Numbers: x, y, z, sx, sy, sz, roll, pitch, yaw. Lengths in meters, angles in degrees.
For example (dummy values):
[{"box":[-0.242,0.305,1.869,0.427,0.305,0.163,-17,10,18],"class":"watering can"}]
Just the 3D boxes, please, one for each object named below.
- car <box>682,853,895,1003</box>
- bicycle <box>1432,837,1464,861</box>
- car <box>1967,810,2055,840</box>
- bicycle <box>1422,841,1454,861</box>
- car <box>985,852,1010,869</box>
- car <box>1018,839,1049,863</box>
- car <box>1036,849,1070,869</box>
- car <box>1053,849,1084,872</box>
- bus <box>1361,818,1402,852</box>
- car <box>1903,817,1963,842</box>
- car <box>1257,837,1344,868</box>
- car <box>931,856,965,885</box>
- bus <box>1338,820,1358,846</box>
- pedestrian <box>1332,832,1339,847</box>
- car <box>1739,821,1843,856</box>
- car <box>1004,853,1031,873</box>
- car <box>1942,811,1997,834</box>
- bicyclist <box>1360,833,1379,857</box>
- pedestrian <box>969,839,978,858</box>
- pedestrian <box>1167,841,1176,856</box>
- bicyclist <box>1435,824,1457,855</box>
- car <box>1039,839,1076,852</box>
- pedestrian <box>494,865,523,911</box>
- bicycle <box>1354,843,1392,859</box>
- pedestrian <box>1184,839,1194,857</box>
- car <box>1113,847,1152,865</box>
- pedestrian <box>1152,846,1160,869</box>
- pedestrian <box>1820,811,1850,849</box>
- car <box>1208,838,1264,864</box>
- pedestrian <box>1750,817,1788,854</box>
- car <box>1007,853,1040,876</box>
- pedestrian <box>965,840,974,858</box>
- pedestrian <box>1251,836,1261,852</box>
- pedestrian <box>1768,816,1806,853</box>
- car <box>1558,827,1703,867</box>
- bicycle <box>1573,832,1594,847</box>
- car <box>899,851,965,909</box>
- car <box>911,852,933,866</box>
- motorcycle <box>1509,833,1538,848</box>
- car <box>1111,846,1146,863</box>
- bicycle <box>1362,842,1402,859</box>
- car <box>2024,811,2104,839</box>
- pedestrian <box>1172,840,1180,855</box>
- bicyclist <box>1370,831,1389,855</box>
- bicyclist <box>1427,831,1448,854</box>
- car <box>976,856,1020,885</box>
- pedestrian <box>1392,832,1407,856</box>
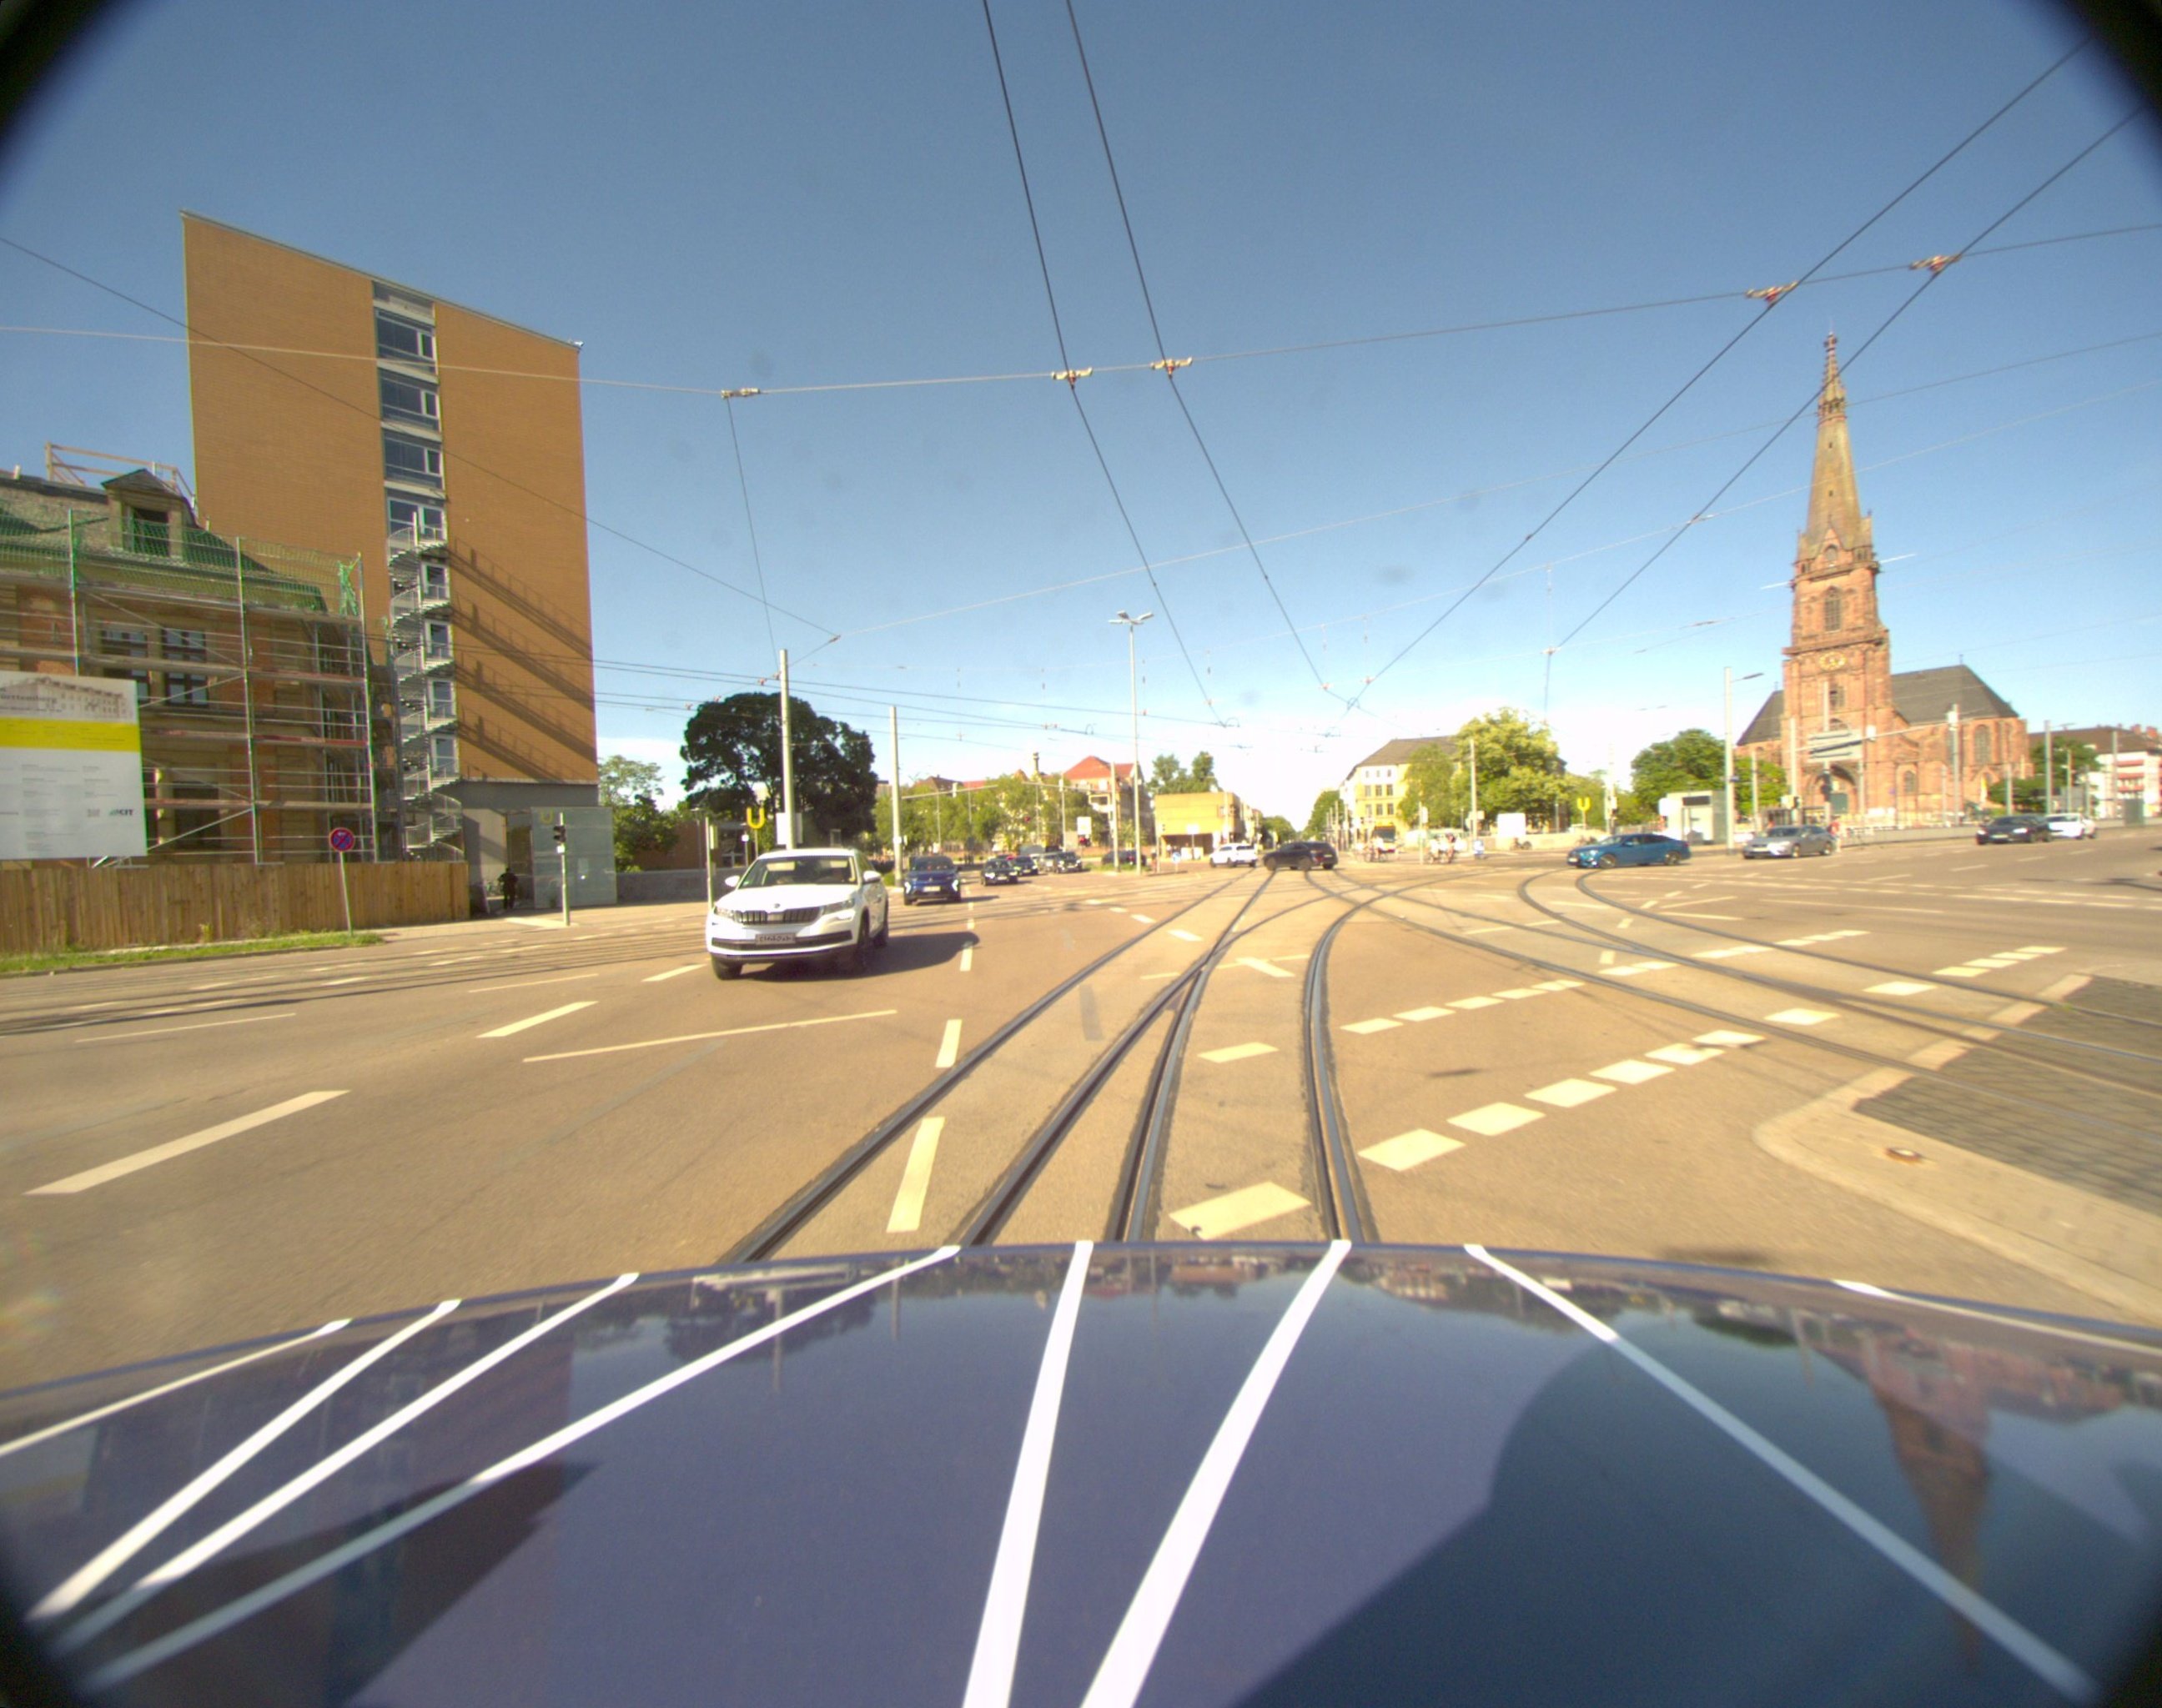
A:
[{"box":[-3.898,0.846,10.961,1.870,1.635,4.393,-1,1,-8],"class":"car"},{"box":[20.575,-0.278,42.606,1.967,1.249,0.614,-3,1,-31],"class":"bicycle"},{"box":[47.293,-1.480,38.620,4.605,1.321,1.793,-3,1,-26],"class":"car"},{"box":[20.708,-0.196,44.085,1.726,1.099,0.615,-2,1,-21],"class":"bicycle"},{"box":[-8.235,0.623,74.783,1.761,1.447,4.116,-4,1,-15],"class":"car"},{"box":[-5.917,-0.348,94.481,2.245,2.665,5.297,-4,1,-19],"class":"car"},{"box":[-2.348,0.404,62.474,1.826,1.450,4.655,-4,1,-12],"class":"car"},{"box":[-0.963,0.431,56.101,1.687,1.523,3.911,-4,1,-9],"class":"car"},{"box":[33.436,-2.232,84.824,2.845,3.104,11.827,-4,2,16],"class":"bus"},{"box":[52.403,-1.531,46.708,4.006,1.352,1.909,-3,0,-34],"class":"car"},{"box":[12.004,-0.092,41.950,2.047,1.568,4.620,-3,2,-25],"class":"car"},{"box":[-8.399,0.987,48.060,1.887,1.621,4.008,-4,1,-10],"class":"car"},{"box":[33.626,-2.658,95.984,2.137,3.028,8.569,-3,0,19],"class":"bus"},{"box":[32.332,-1.822,96.575,0.690,1.851,0.730,-3,2,21],"class":"pedestrian"},{"box":[31.321,-0.682,33.492,4.605,1.321,1.793,-3,1,-26],"class":"car"},{"box":[-5.171,0.726,61.725,1.715,1.450,4.008,-4,1,-11],"class":"car"},{"box":[59.357,-2.084,50.737,4.006,1.352,1.909,-3,0,-34],"class":"car"},{"box":[19.327,-0.595,50.896,0.957,1.520,0.576,-4,2,-12],"class":"bicyclist"},{"box":[-14.154,-0.702,99.603,0.876,2.406,0.888,-4,2,-16],"class":"pedestrian"},{"box":[10.798,-0.700,90.940,0.748,1.702,0.703,-3,2,31],"class":"pedestrian"},{"box":[20.436,-0.825,42.522,0.796,1.666,0.758,-3,1,-31],"class":"bicyclist"},{"box":[-3.661,-1.360,120.765,5.244,1.793,2.405,-5,1,-29],"class":"car"},{"box":[-23.365,1.374,31.032,0.778,1.777,0.829,-5,2,-35],"class":"pedestrian"},{"box":[19.582,-0.207,50.956,2.477,0.984,0.615,-2,1,-12],"class":"bicycle"},{"box":[11.532,-0.613,81.140,0.857,1.819,0.703,-3,2,25],"class":"pedestrian"},{"box":[4.388,0.156,65.218,1.853,1.408,4.474,-3,1,-16],"class":"car"},{"box":[4.980,0.234,50.484,0.372,1.547,0.644,-4,2,-2],"class":"pedestrian"},{"box":[38.531,-1.222,38.829,0.995,1.892,0.991,-5,2,-42],"class":"pedestrian"},{"box":[10.710,-0.193,52.736,2.004,1.631,4.559,-2,1,-13],"class":"car"},{"box":[35.320,-0.943,39.021,0.993,1.789,0.994,-4,2,-1],"class":"pedestrian"},{"box":[-4.209,0.705,54.734,1.887,1.450,4.008,-4,1,-10],"class":"car"},{"box":[-14.743,-0.669,100.530,0.876,2.421,0.888,-4,2,-16],"class":"pedestrian"},{"box":[21.184,-1.168,91.905,0.857,1.870,0.694,-3,2,25],"class":"pedestrian"},{"box":[36.919,-1.009,39.727,0.994,1.892,0.993,-4,2,-9],"class":"pedestrian"},{"box":[22.842,-0.299,31.699,4.596,1.450,1.913,-3,1,1],"class":"car"},{"box":[44.794,-1.315,67.766,1.498,1.263,0.366,-3,2,21],"class":"bicycle"},{"box":[-4.959,0.796,25.478,1.887,1.621,4.008,-4,1,-10],"class":"car"},{"box":[-17.943,0.562,85.572,1.923,1.450,4.661,-4,1,-17],"class":"car"},{"box":[40.179,-1.254,69.004,2.102,1.247,0.535,-4,2,16],"class":"motorcycle"},{"box":[4.516,0.070,73.238,1.888,1.450,4.638,-3,1,-16],"class":"car"},{"box":[19.777,-0.217,49.966,2.477,0.984,0.615,-2,1,-12],"class":"bicycle"},{"box":[54.404,-1.602,42.046,4.605,1.321,1.793,-3,1,-26],"class":"car"},{"box":[11.207,-0.807,89.860,0.643,1.702,0.703,-3,2,31],"class":"pedestrian"},{"box":[19.613,-0.731,49.928,0.996,1.540,0.595,-3,1,-11],"class":"bicyclist"},{"box":[20.664,-0.649,44.060,0.796,1.315,0.758,-3,1,-22],"class":"bicyclist"},{"box":[-4.759,0.907,43.266,1.923,1.450,3.861,-4,1,-13],"class":"car"},{"box":[22.134,-0.670,52.791,0.714,1.598,0.607,-4,2,-10],"class":"pedestrian"}]
